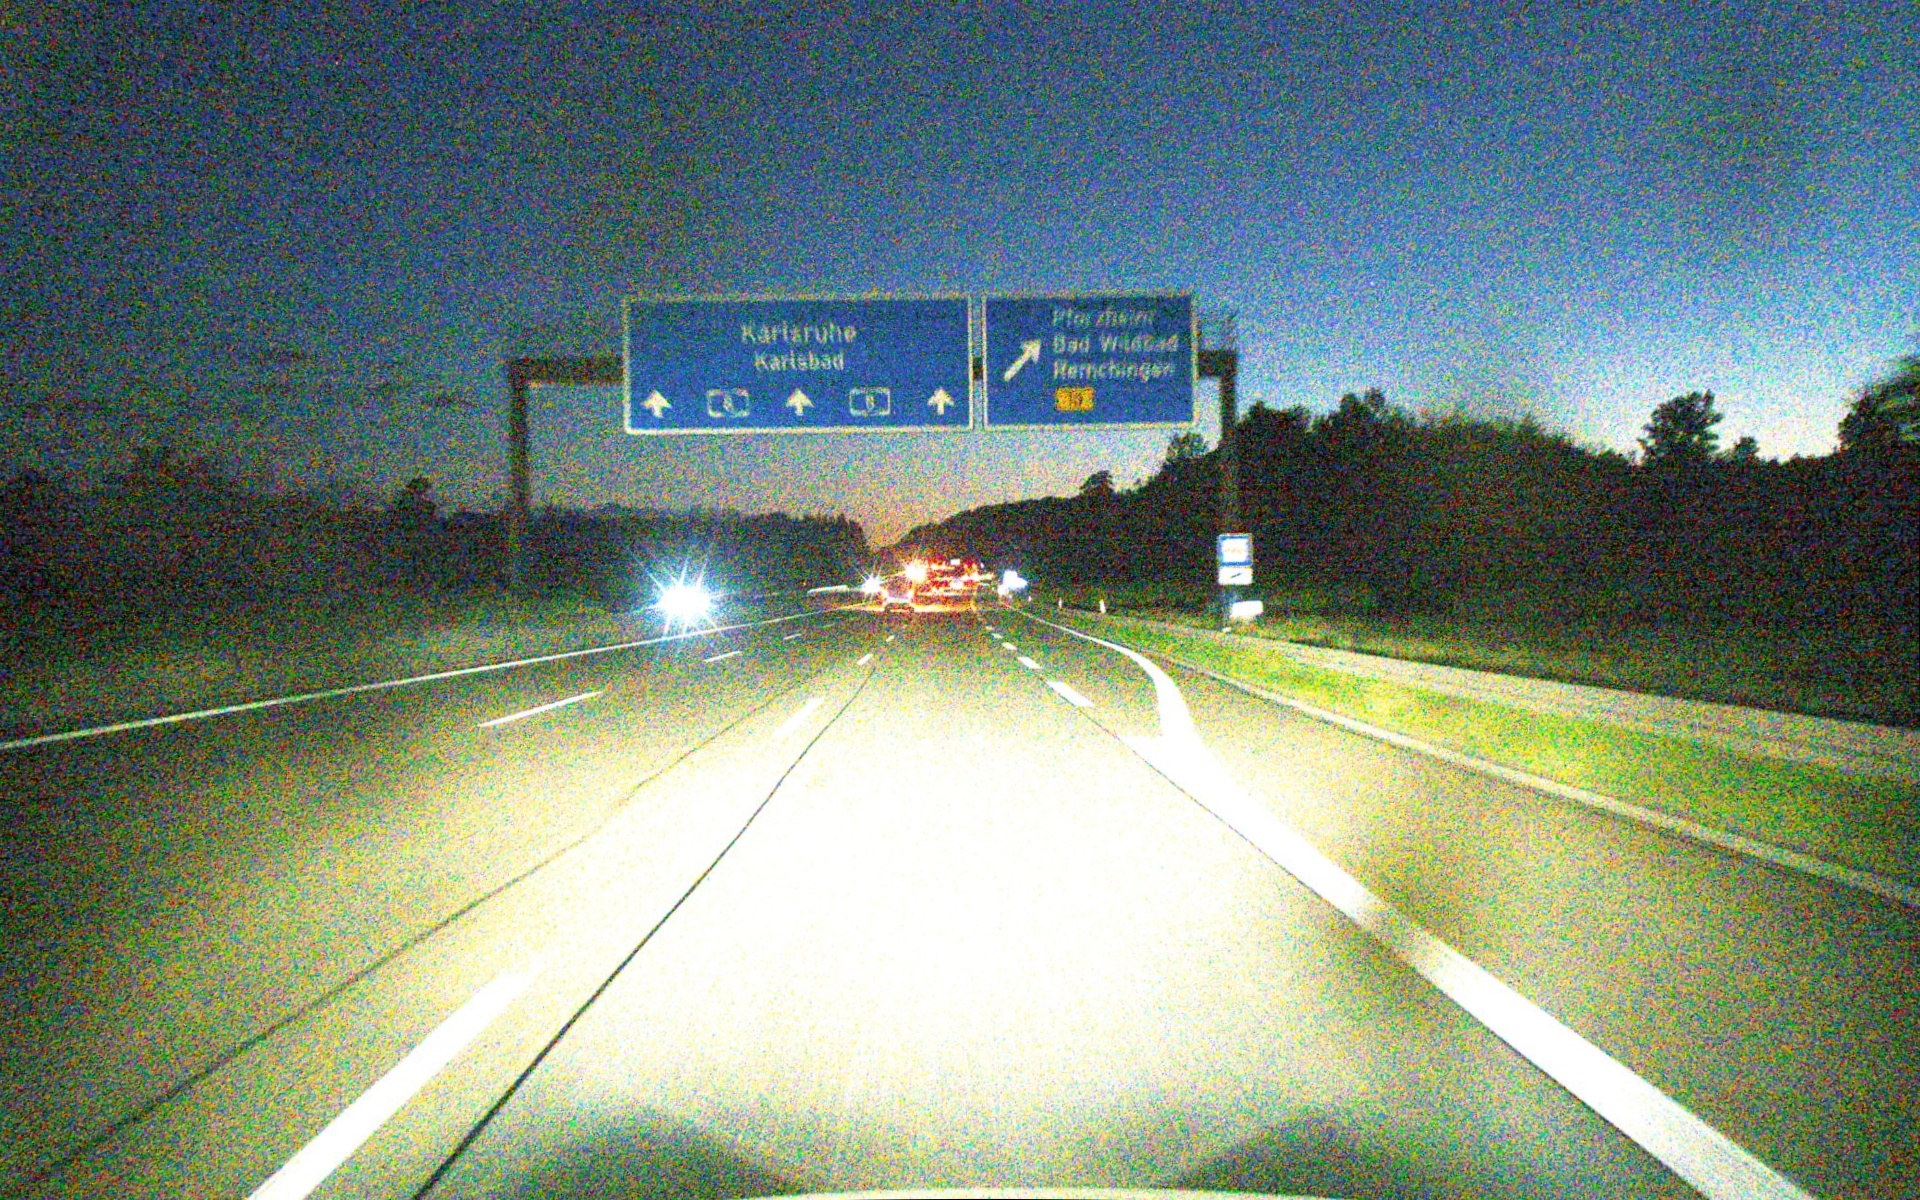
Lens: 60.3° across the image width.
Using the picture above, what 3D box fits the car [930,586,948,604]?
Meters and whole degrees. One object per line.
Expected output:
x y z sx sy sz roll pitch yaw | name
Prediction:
-3.334 -0.774 258.841 2.730 2.781 6.297 0 -1 -1 | car

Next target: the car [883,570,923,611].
-4.075 -0.610 117.559 2.731 2.781 6.295 0 -1 -3 | car

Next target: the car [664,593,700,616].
-22.386 0.329 133.374 1.953 1.776 5.071 1 0 0 | car
